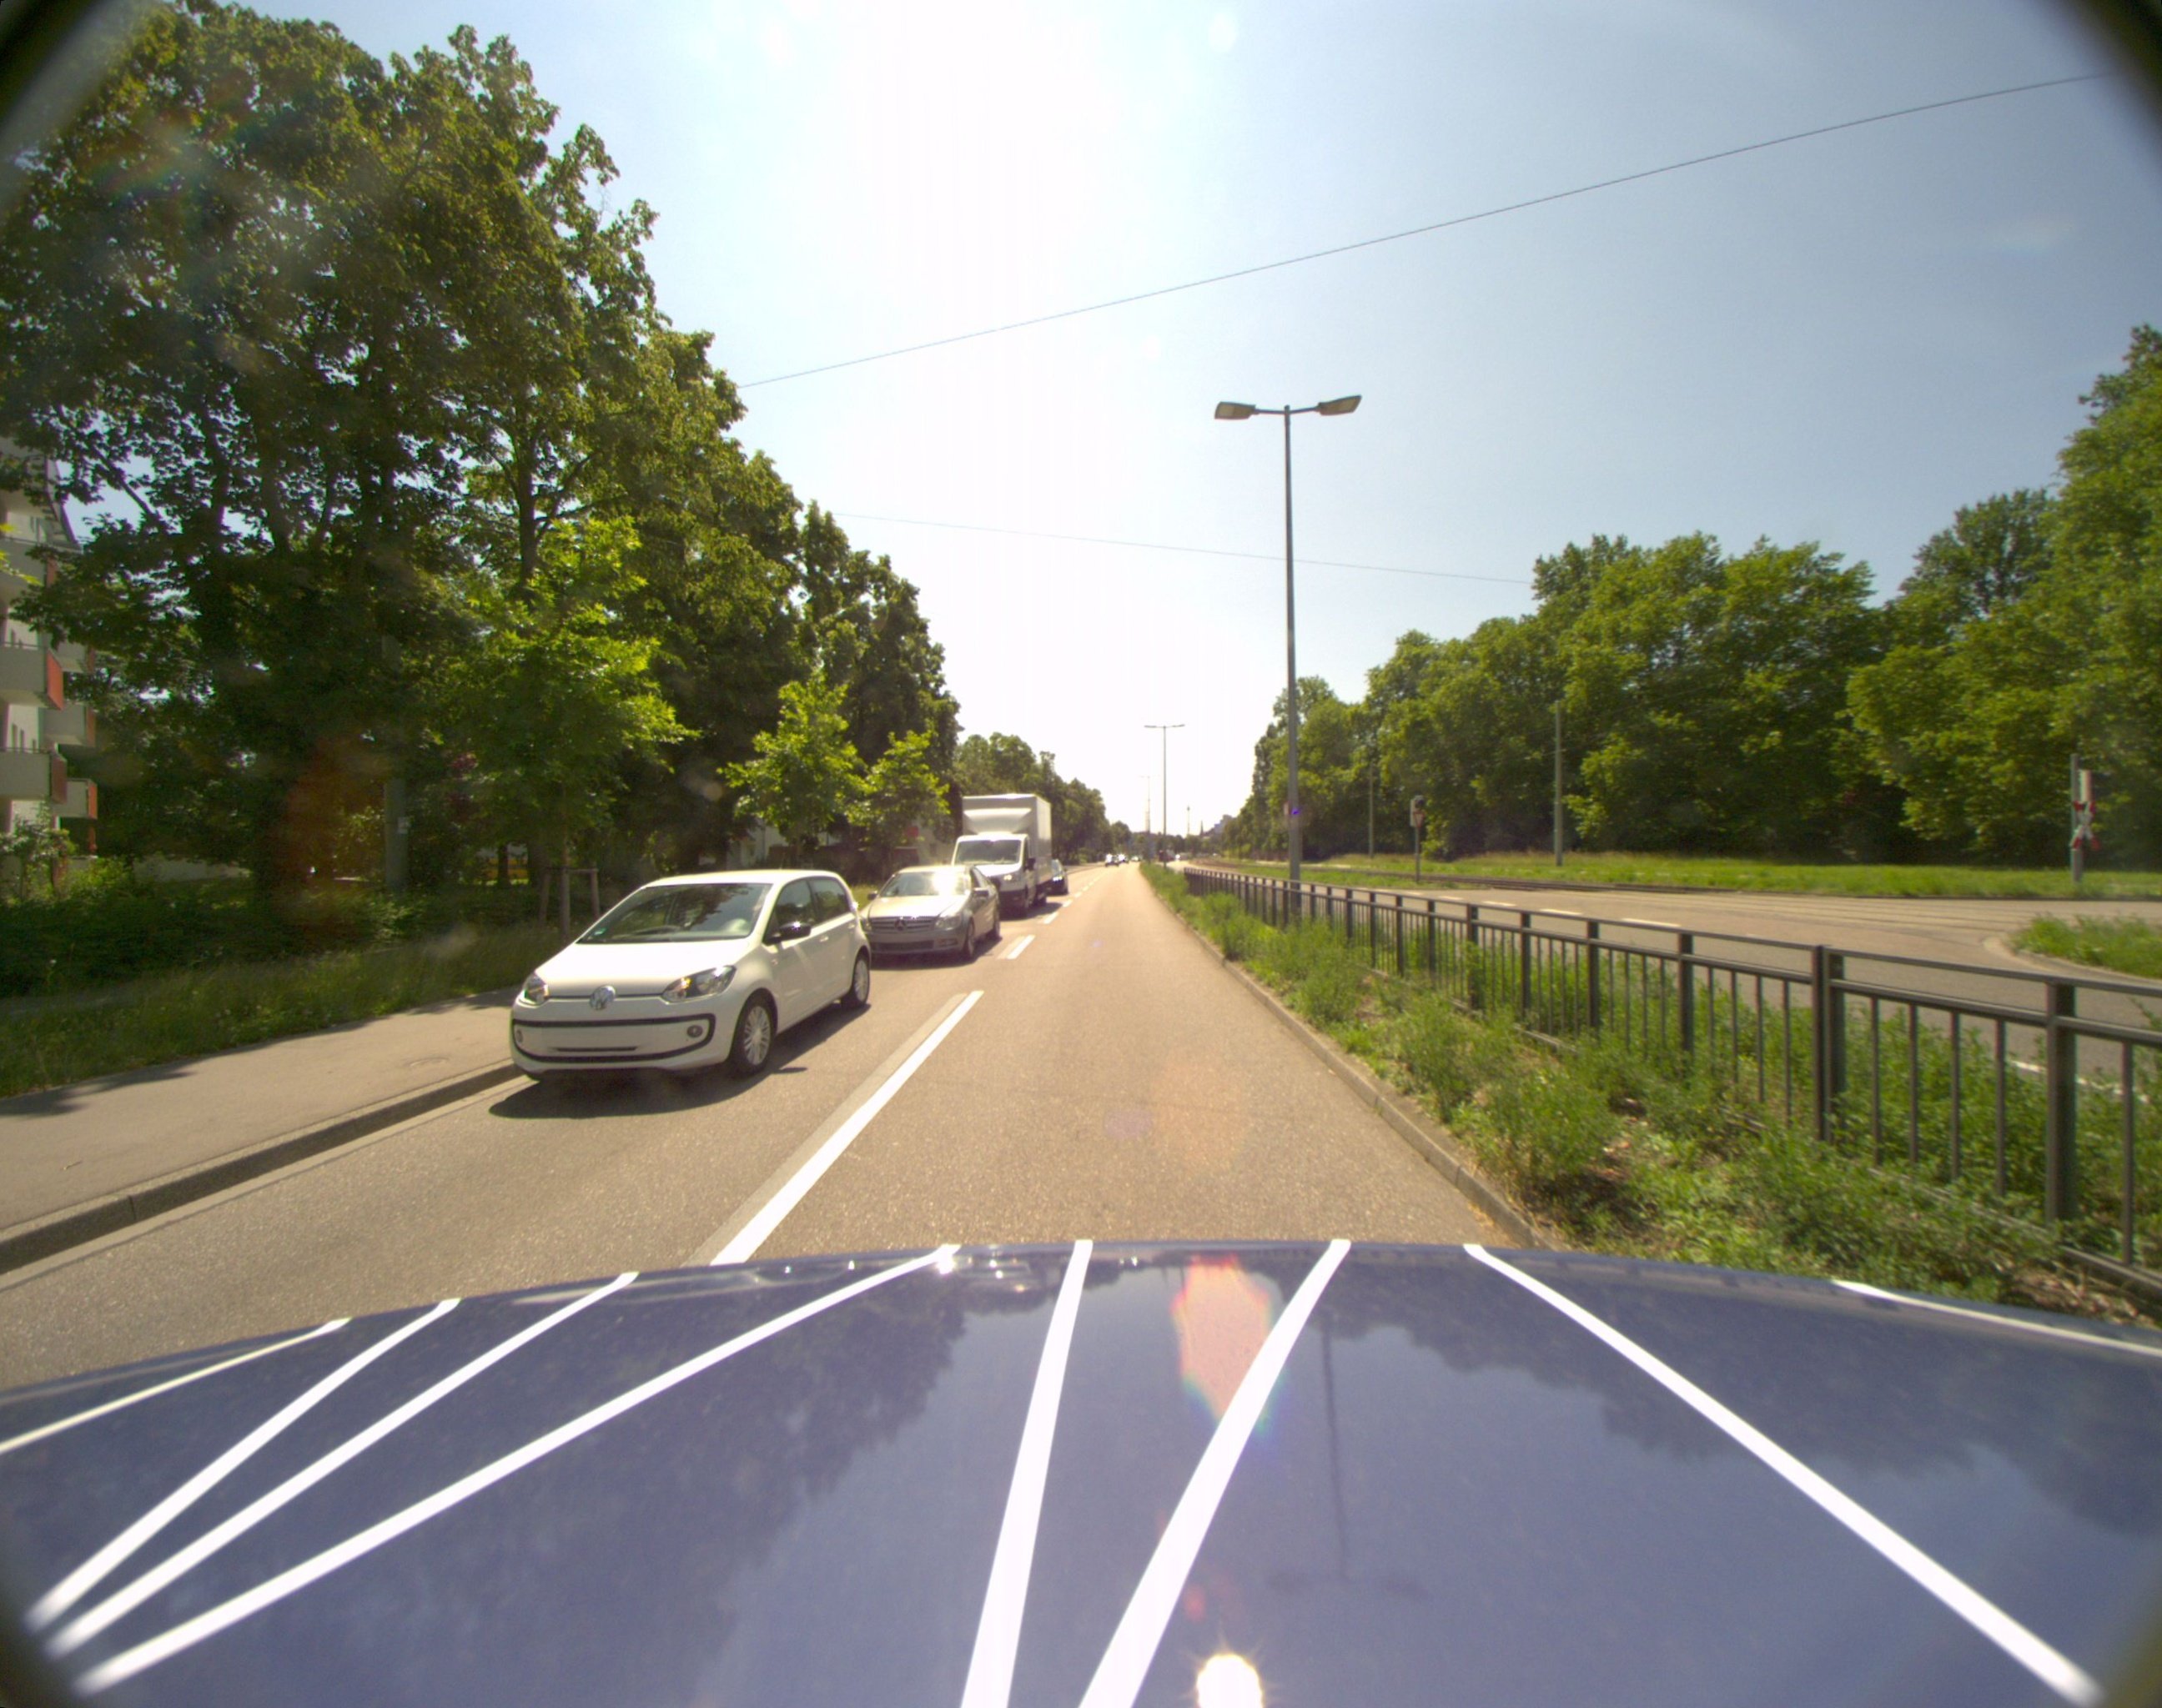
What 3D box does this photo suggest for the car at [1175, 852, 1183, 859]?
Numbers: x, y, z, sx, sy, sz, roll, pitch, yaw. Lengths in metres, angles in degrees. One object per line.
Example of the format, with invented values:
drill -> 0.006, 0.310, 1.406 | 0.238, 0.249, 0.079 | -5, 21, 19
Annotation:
car -> 26.793, 0.304, 207.254 | 1.998, 1.847, 4.001 | -1, 0, 5

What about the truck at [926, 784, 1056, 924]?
truck -> -2.292, -0.008, 22.274 | 2.433, 3.326, 7.923 | -1, 0, 3

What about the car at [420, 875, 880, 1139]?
car -> -3.120, 0.989, 6.514 | 1.730, 1.470, 3.771 | -1, 0, 1

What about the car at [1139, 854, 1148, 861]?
car -> 14.535, 0.738, 176.227 | 1.997, 1.499, 4.002 | -1, 0, 7

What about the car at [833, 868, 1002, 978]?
car -> -2.468, 0.986, 12.536 | 1.840, 1.400, 4.087 | -1, 0, 1

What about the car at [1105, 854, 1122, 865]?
car -> 4.607, 0.794, 107.526 | 1.997, 1.499, 4.002 | -1, 0, 7

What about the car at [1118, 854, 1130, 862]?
car -> 8.211, 0.781, 143.970 | 1.997, 1.499, 4.002 | -1, 0, 7

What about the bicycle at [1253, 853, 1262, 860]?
bicycle -> 29.272, 0.350, 126.018 | 0.862, 1.155, 2.787 | -1, 0, 1

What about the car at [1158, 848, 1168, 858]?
car -> 16.681, -0.230, 154.051 | 1.997, 1.847, 4.002 | -1, 0, 7

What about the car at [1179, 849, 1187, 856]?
car -> 26.940, -0.409, 200.790 | 1.998, 1.847, 4.001 | -1, 0, 5

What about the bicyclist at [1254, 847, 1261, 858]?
bicyclist -> 29.285, -0.260, 125.954 | 0.862, 1.796, 1.118 | -1, 1, 1

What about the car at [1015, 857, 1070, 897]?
car -> -1.510, 0.914, 31.527 | 1.998, 1.499, 4.000 | -1, 0, 1
